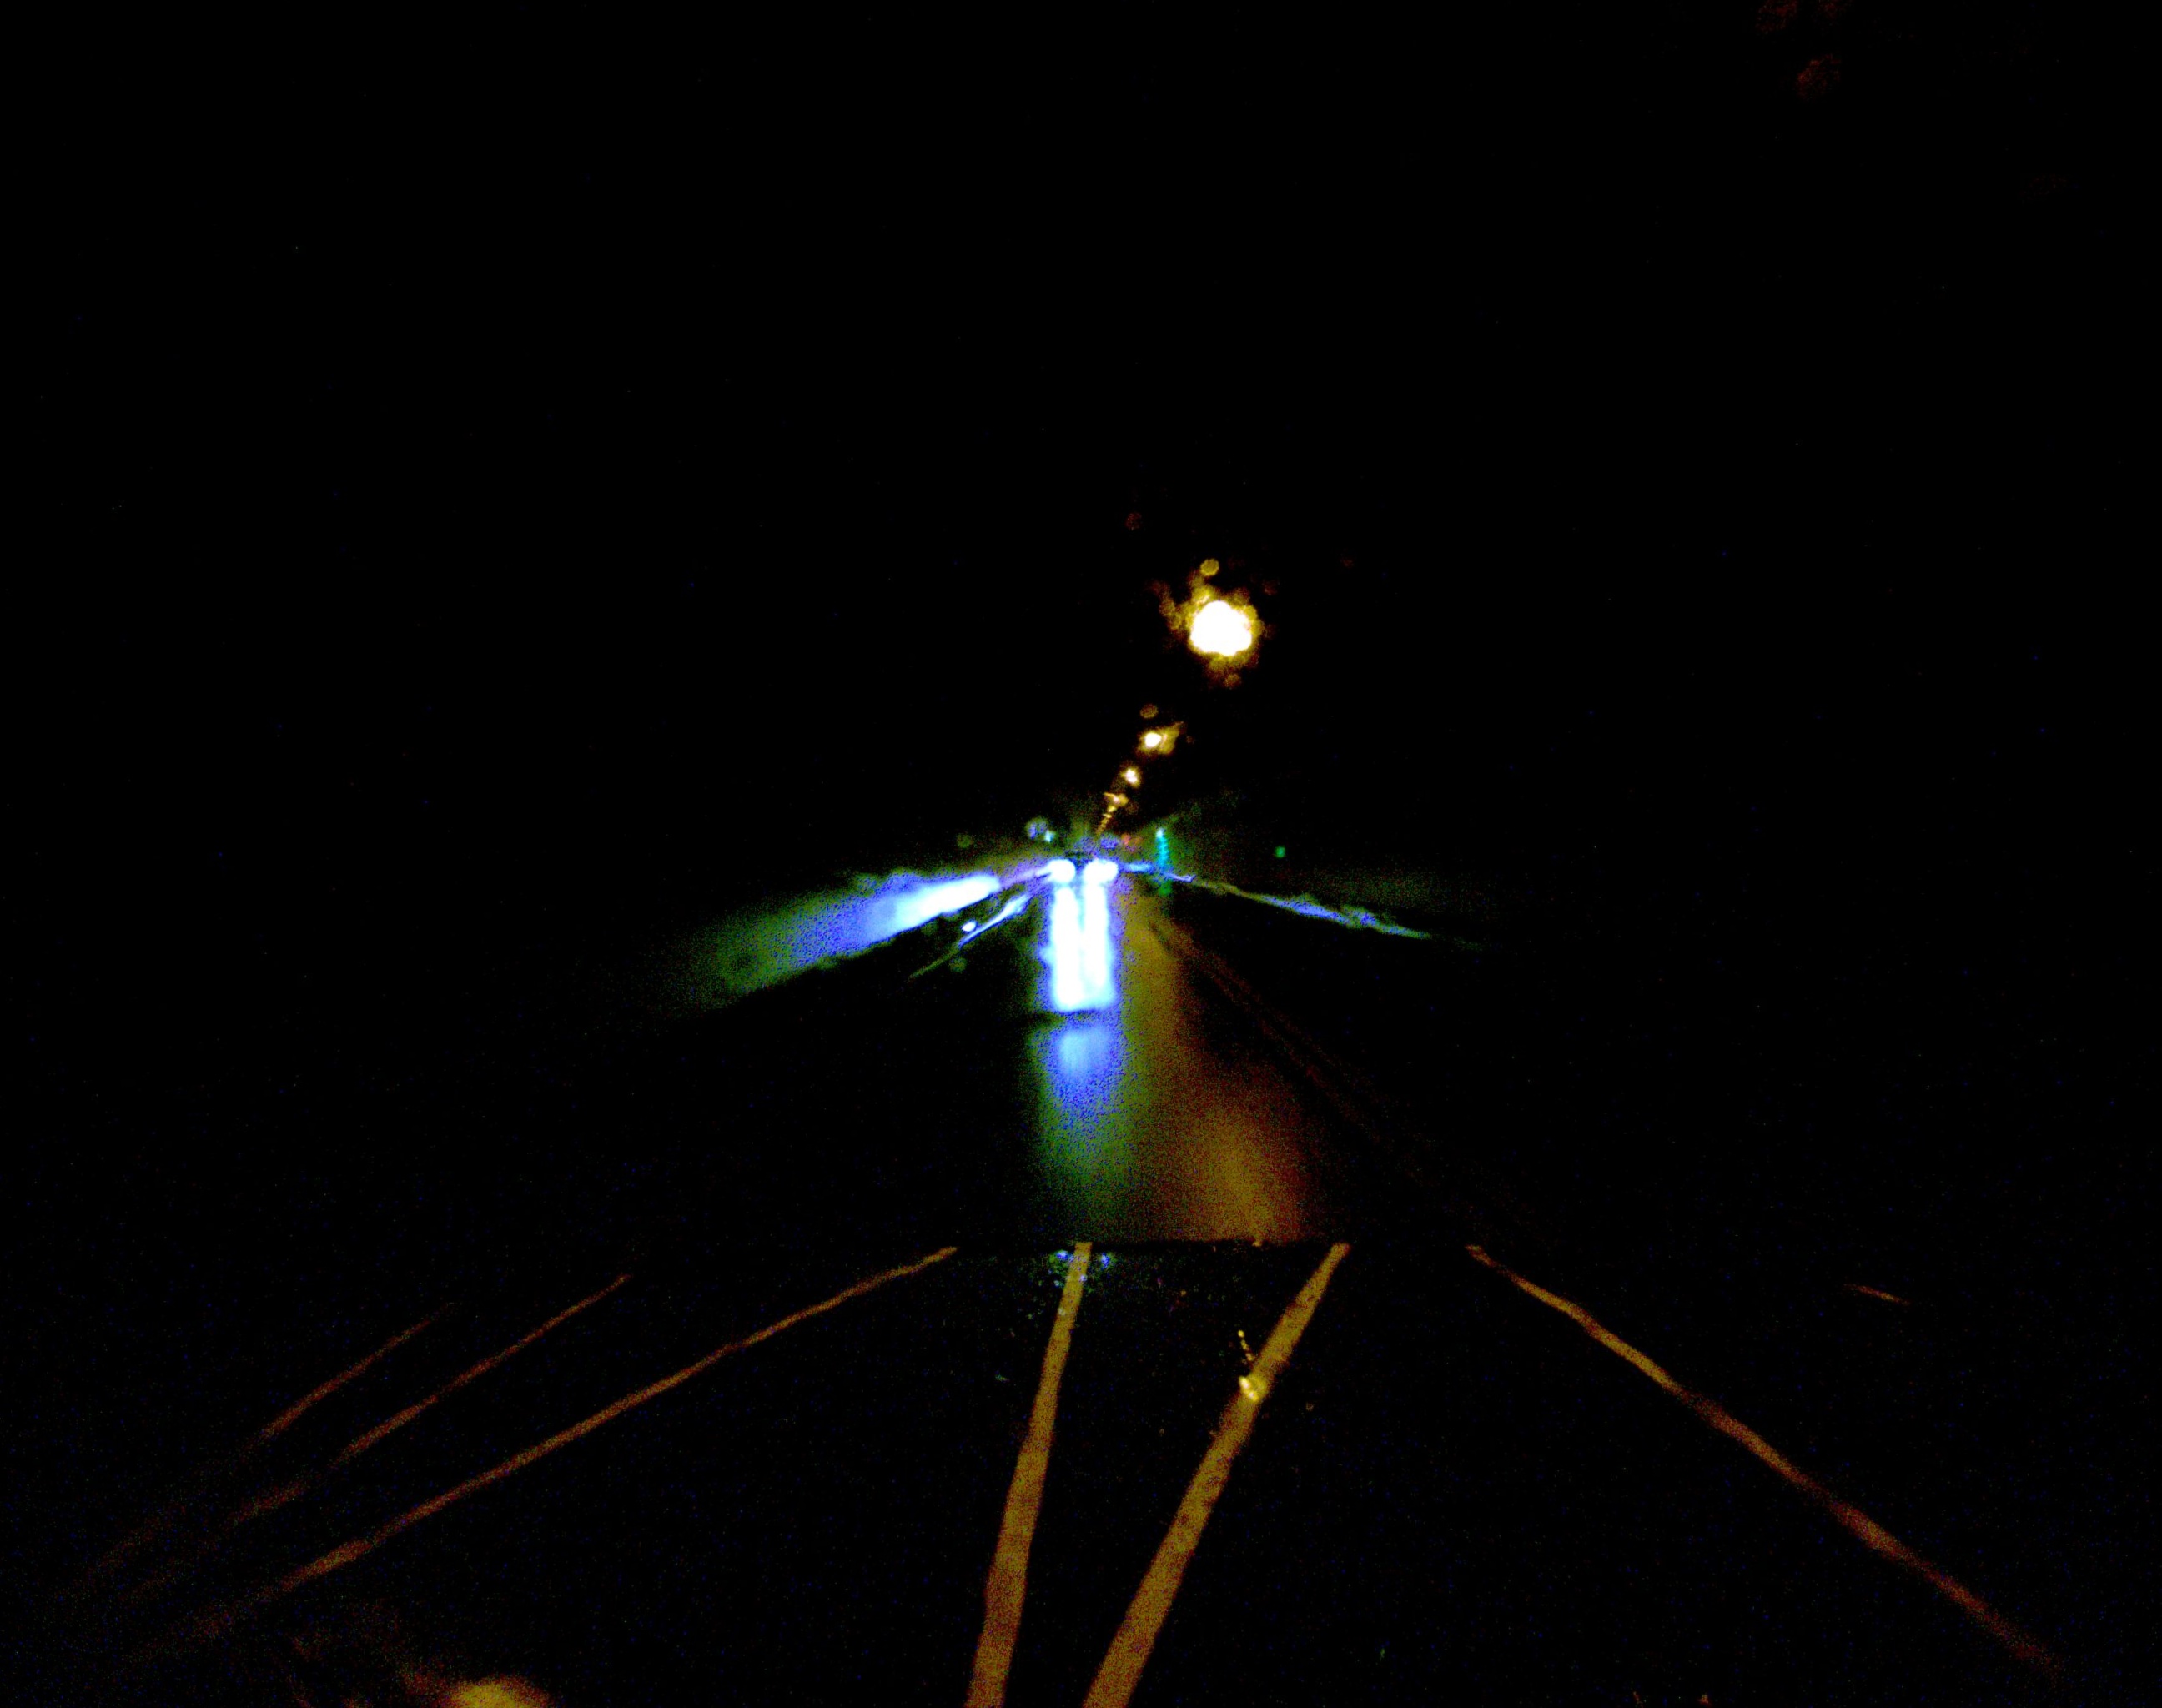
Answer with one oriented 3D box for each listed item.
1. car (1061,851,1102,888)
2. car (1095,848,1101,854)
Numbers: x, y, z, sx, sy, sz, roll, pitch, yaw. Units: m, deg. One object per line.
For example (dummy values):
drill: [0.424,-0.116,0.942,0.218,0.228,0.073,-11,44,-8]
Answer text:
car: [0.064,0.693,36.199,1.829,1.650,3.929,0,1,1]
car: [5.098,-0.916,230.228,1.761,1.519,3.814,-3,0,0]
